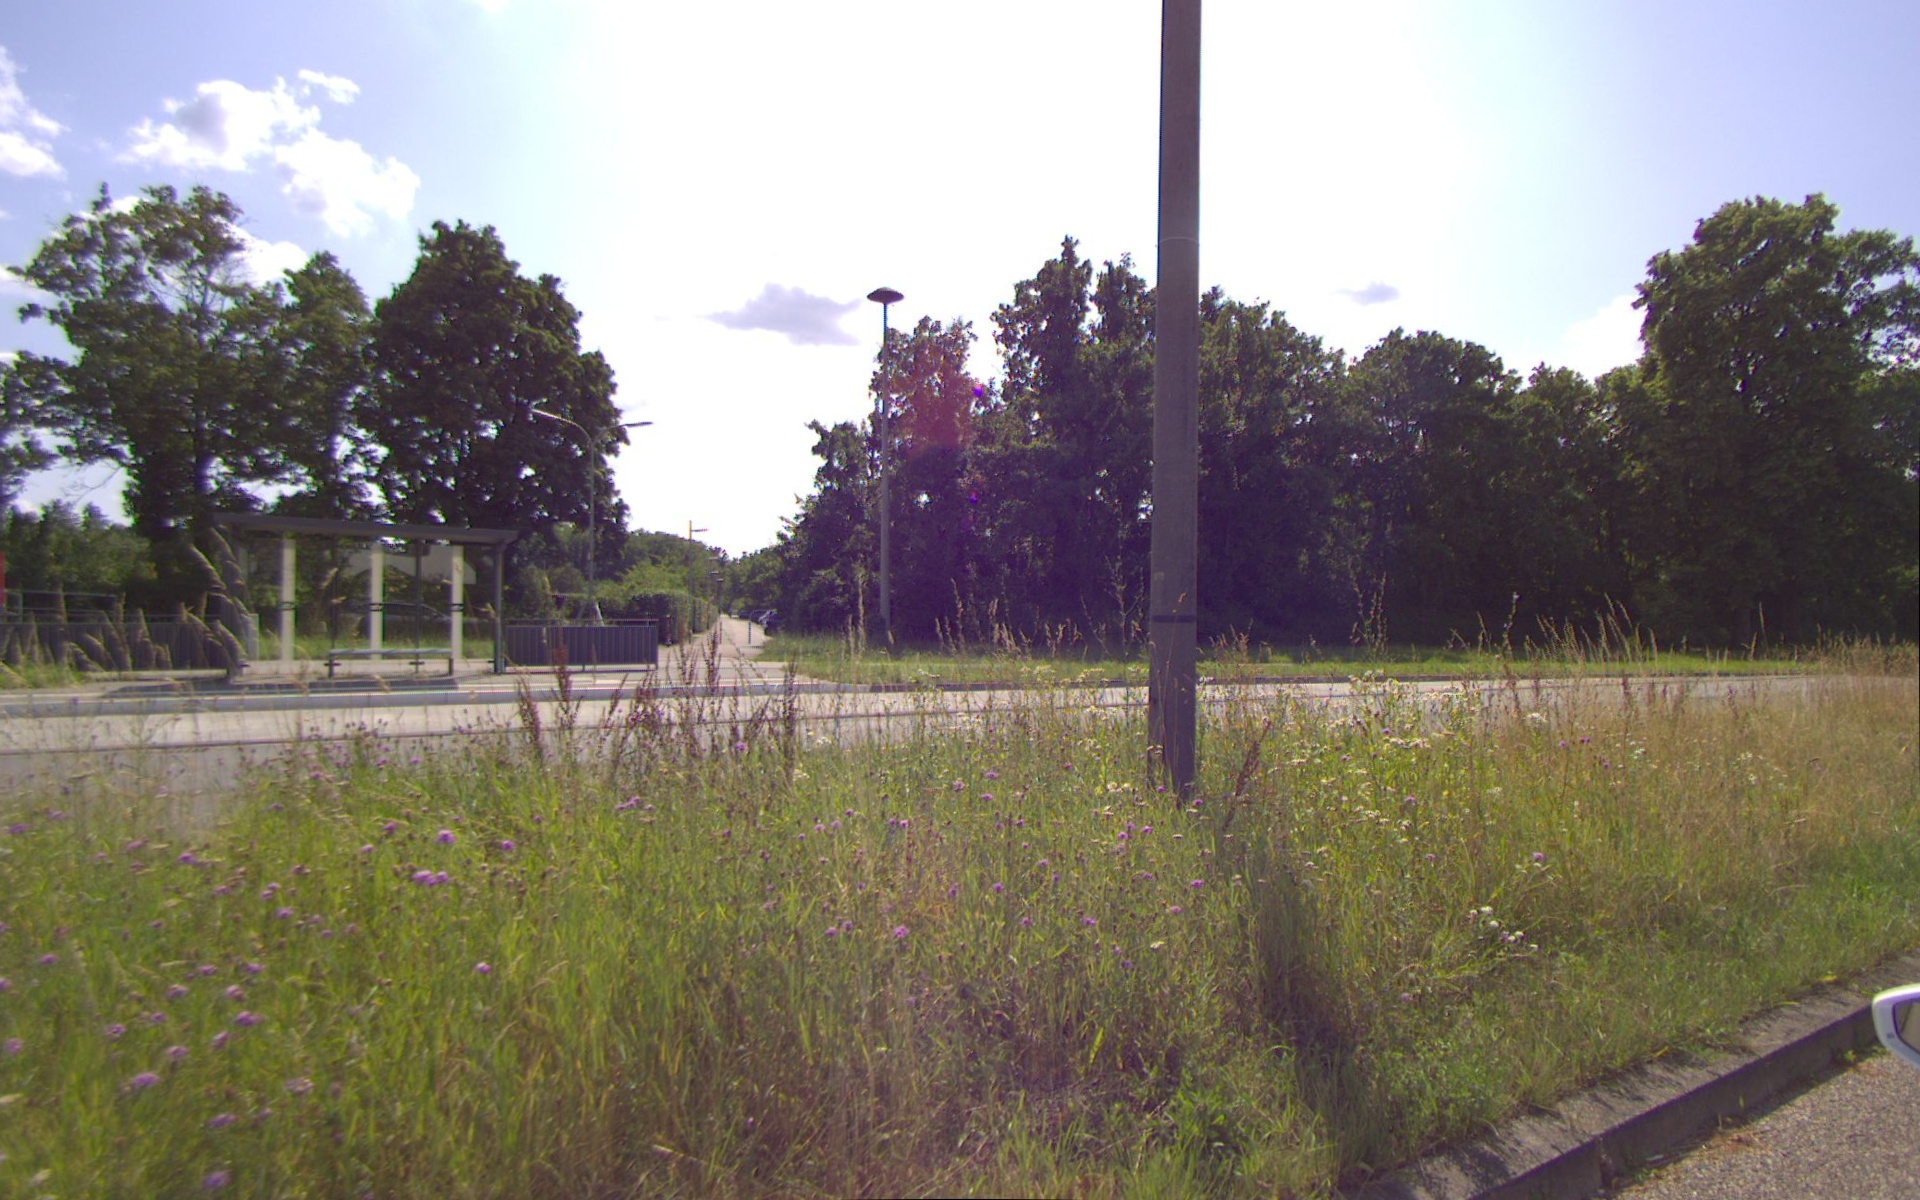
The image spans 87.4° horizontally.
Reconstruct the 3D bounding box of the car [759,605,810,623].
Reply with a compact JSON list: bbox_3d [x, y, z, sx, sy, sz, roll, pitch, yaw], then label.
[{"bbox_3d":[-15.116,1.225,86.442,3.919,1.439,1.840,1,0,10],"label":"car"}]

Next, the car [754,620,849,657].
[{"bbox_3d":[-7.222,1.744,45.957,3.919,1.528,1.761,1,0,6],"label":"car"}]

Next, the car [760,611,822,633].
[{"bbox_3d":[-12.000,1.522,71.401,3.919,1.439,1.840,1,0,10],"label":"car"}]
